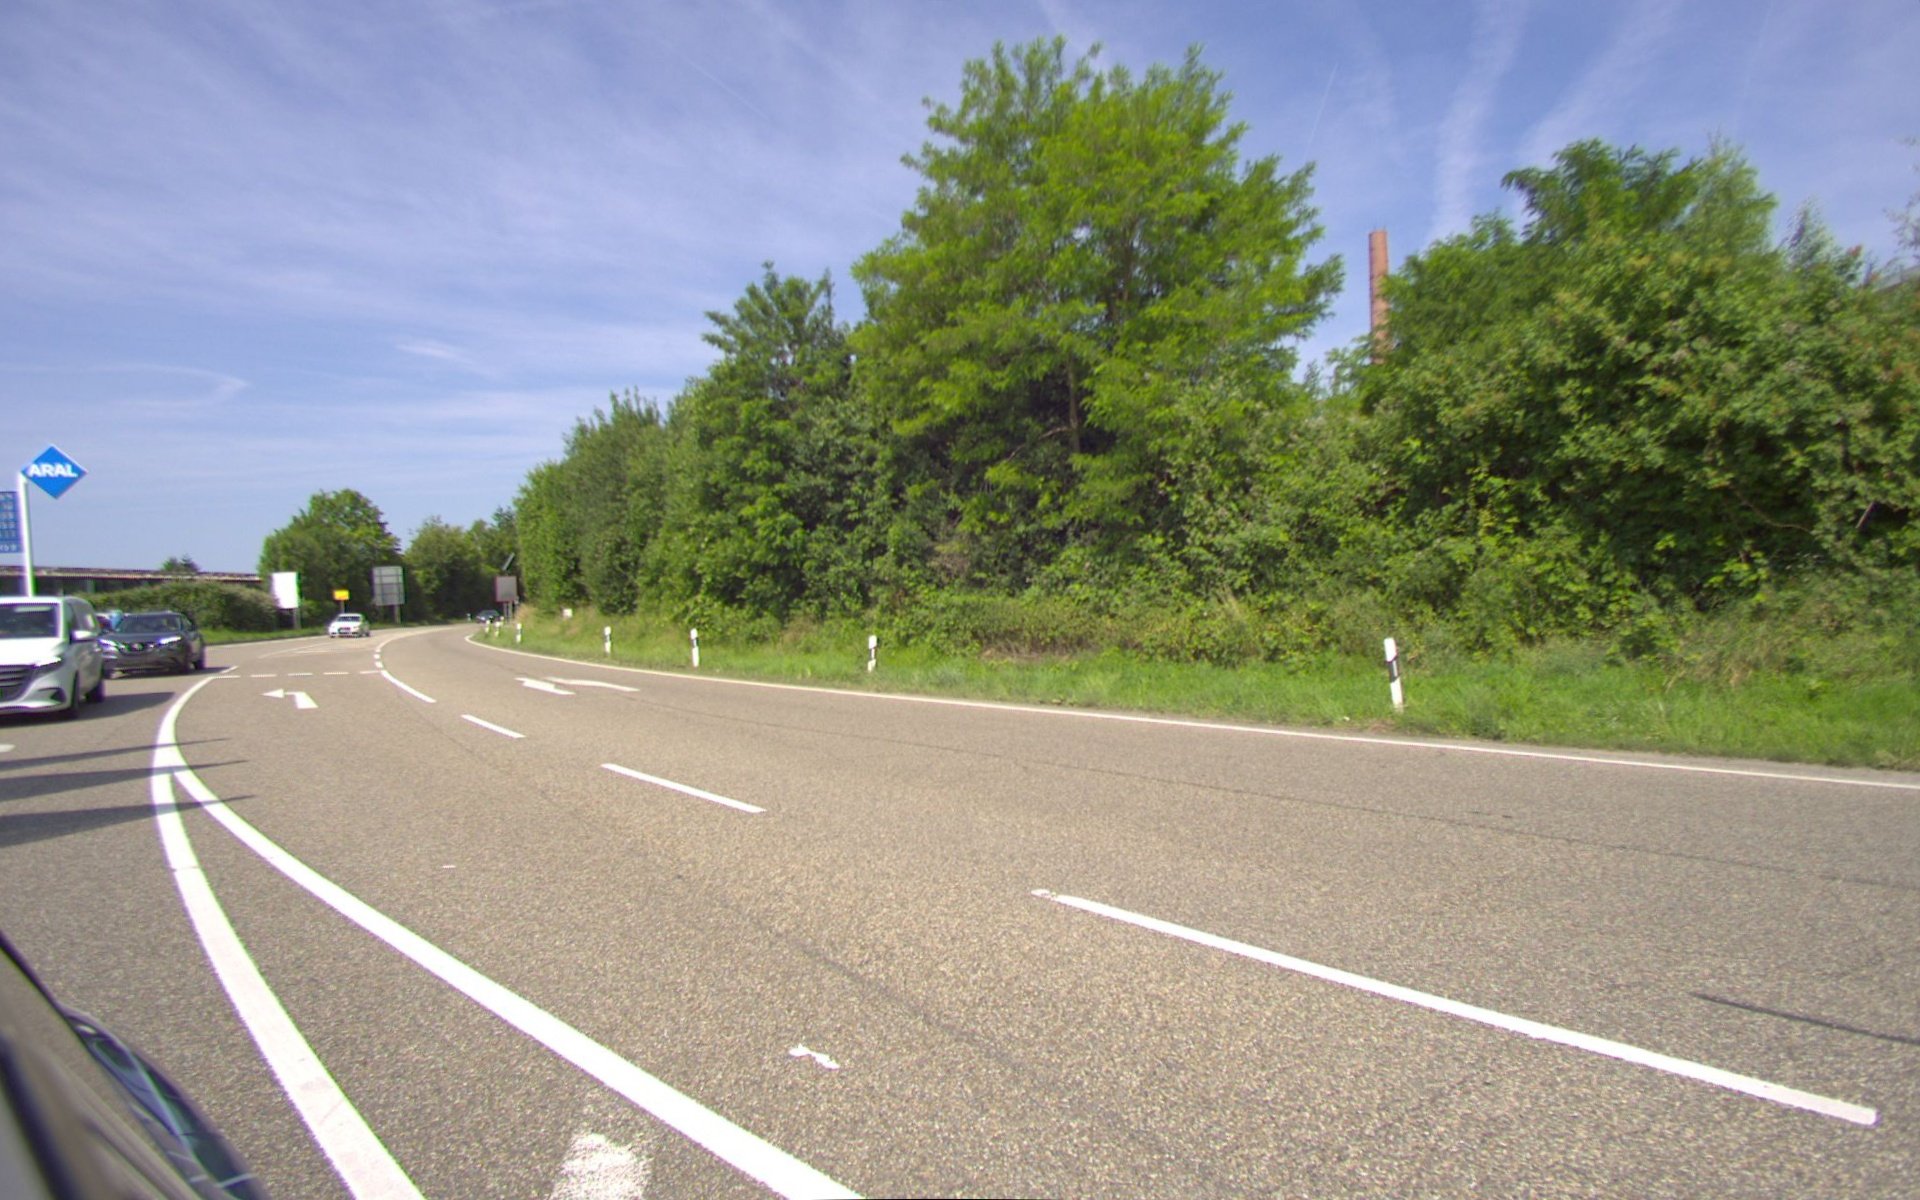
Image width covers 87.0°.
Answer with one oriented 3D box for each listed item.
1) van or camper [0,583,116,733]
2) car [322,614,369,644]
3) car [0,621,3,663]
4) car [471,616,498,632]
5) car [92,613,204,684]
[{"bbox_3d":[-14.837,0.850,15.787,1.967,2.029,5.304,-3,1,-34],"label":"van or camper"},{"bbox_3d":[-37.795,1.732,62.372,1.837,1.653,4.436,-3,1,-23],"label":"car"},{"bbox_3d":[-40.185,1.748,39.150,4.185,1.650,1.828,-3,-1,-18],"label":"car"},{"bbox_3d":[-54.960,2.760,116.977,1.838,1.653,4.433,-3,1,-13],"label":"car"},{"bbox_3d":[-20.228,1.155,25.346,1.792,1.552,3.737,-3,1,-33],"label":"car"}]
